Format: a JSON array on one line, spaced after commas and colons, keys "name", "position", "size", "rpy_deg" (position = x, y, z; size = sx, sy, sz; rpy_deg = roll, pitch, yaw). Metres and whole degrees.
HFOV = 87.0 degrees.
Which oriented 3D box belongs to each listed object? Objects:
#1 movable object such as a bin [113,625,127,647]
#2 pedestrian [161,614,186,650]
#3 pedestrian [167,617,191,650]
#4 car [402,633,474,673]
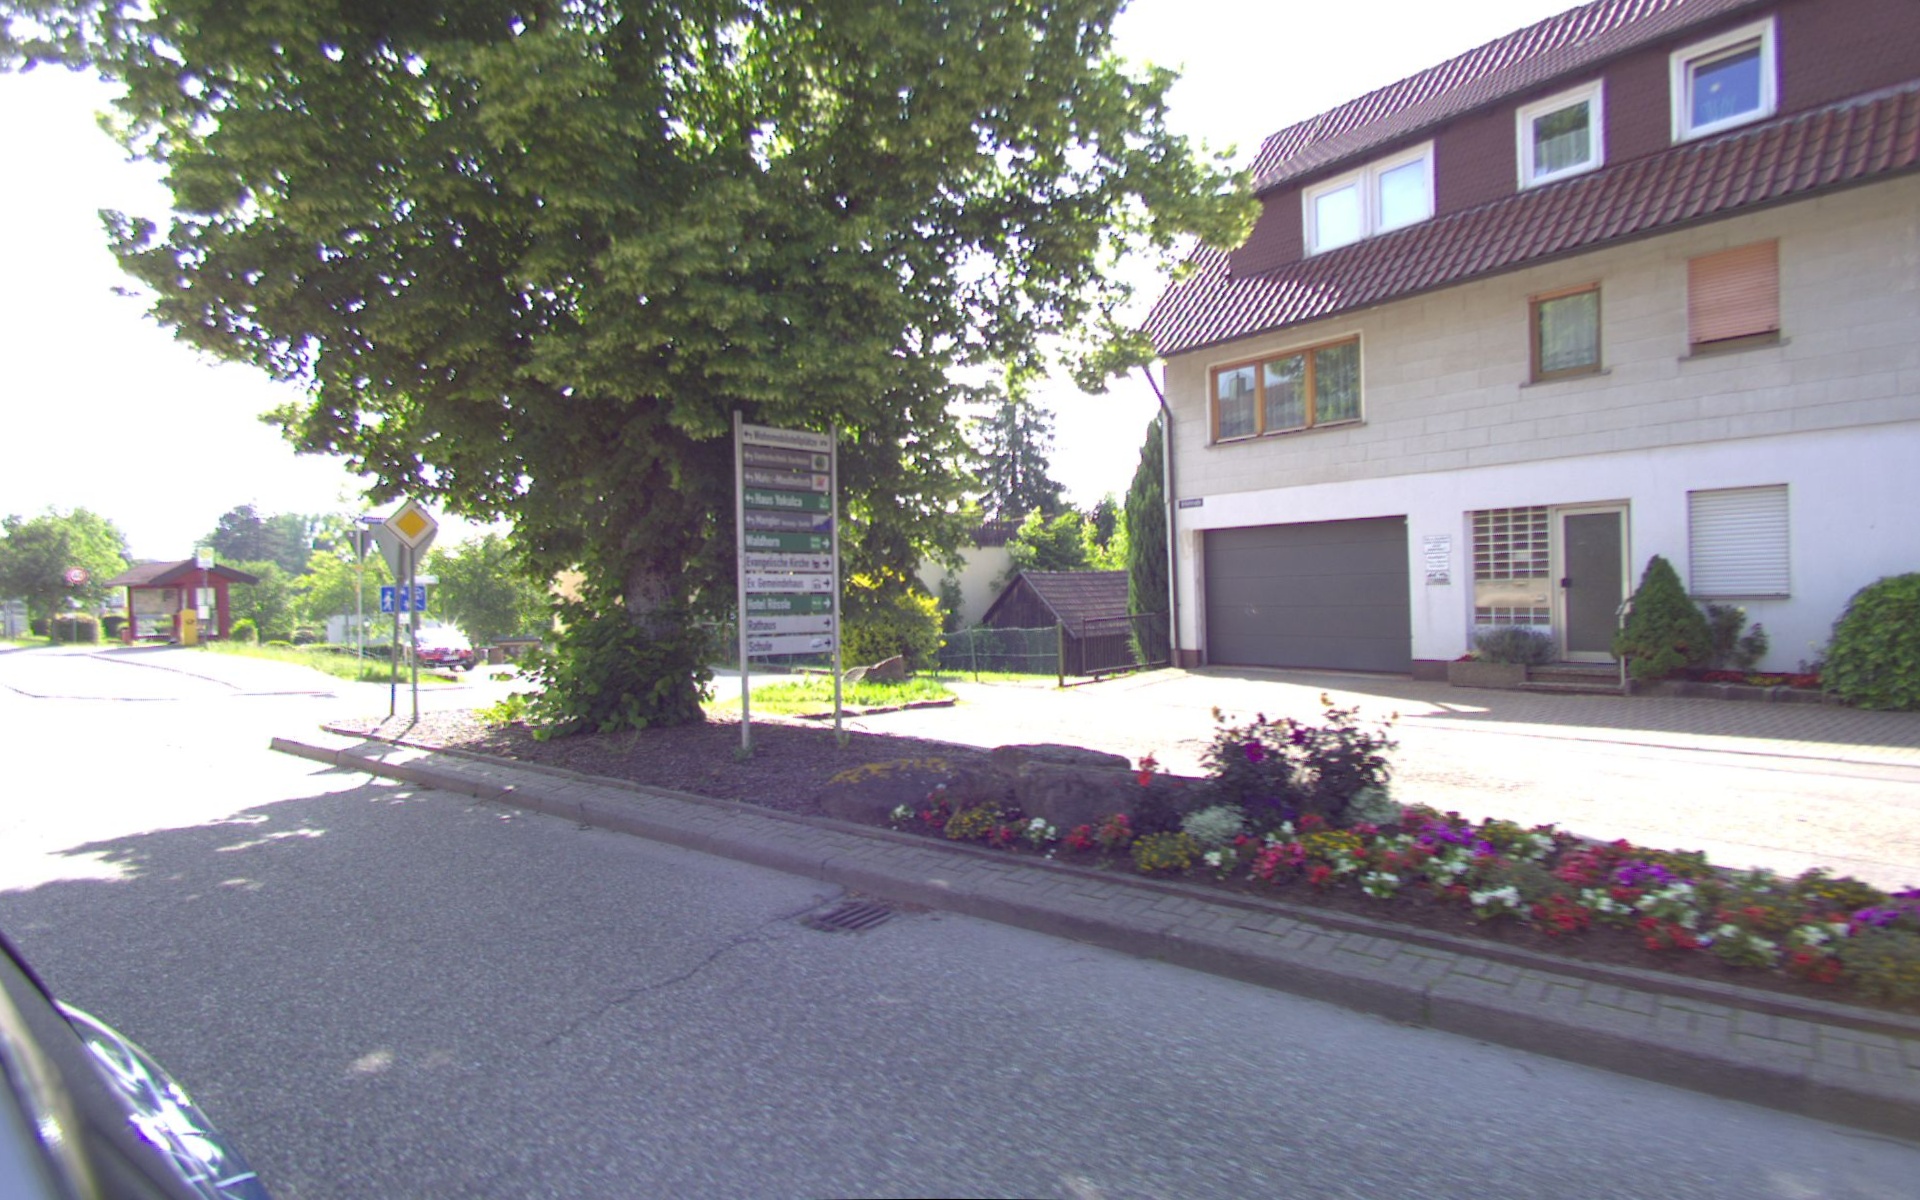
[{"name": "movable object such as a bin", "position": [-33.197, 1.414, 39.997], "size": [0.484, 0.843, 0.302], "rpy_deg": [-1, -1, 37]}, {"name": "pedestrian", "position": [-30.579, 1.254, 39.362], "size": [0.673, 1.375, 0.611], "rpy_deg": [-3, -4, 38]}, {"name": "pedestrian", "position": [-30.120, 1.286, 39.037], "size": [0.423, 1.262, 0.623], "rpy_deg": [-1, -2, 36]}, {"name": "car", "position": [-18.840, 1.865, 36.470], "size": [1.698, 1.307, 4.009], "rpy_deg": [1, -2, -36]}]
